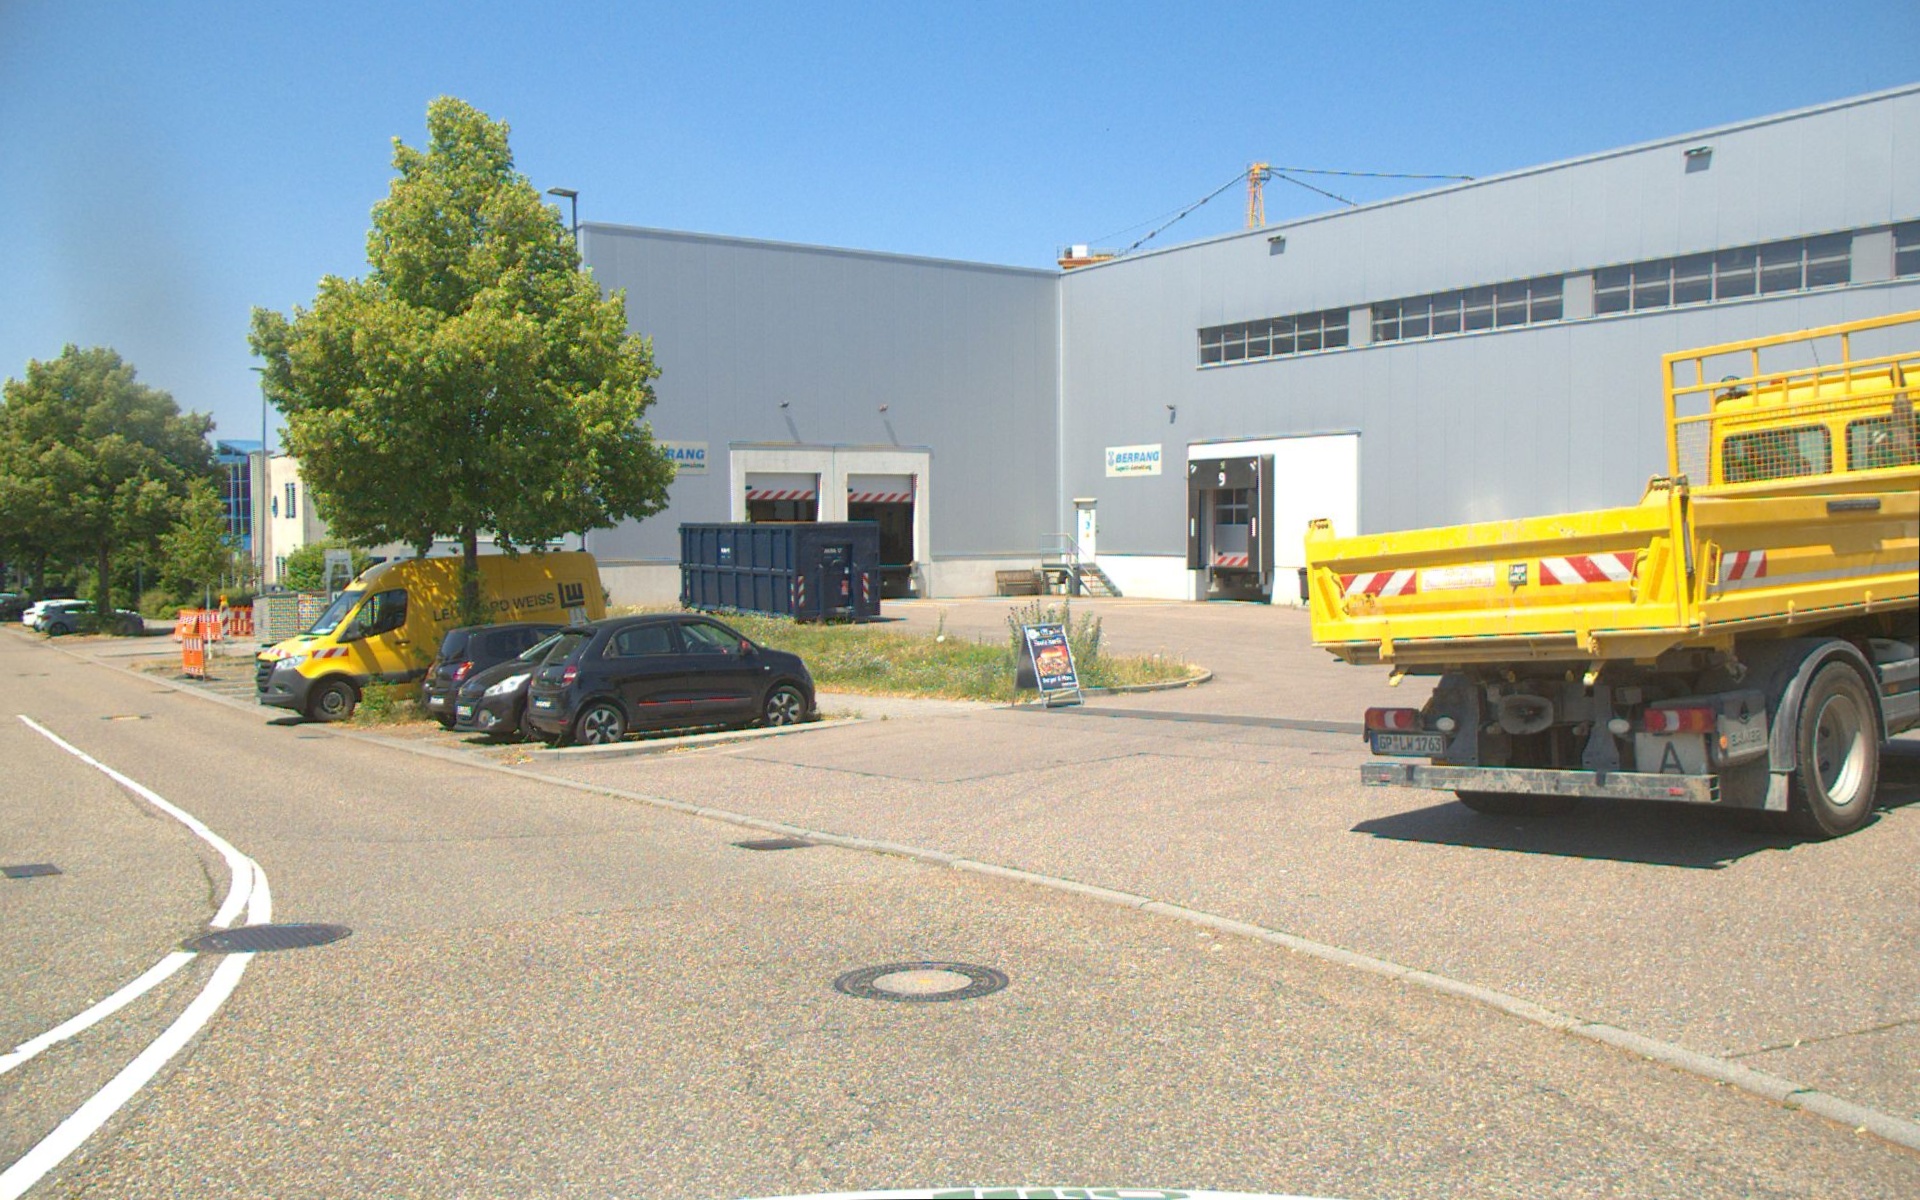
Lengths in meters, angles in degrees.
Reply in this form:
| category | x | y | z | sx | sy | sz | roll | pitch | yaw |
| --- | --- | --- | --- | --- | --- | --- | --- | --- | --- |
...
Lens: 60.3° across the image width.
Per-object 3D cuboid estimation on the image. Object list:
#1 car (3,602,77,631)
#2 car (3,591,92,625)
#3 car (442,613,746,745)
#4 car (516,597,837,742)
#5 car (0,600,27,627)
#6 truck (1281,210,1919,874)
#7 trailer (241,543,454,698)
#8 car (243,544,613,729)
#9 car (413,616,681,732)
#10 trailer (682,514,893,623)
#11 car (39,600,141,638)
| category | x | y | z | sx | sy | sz | roll | pitch | yaw |
| --- | --- | --- | --- | --- | --- | --- | --- | --- | --- |
| car | -54.789 | 0.950 | 98.504 | 3.690 | 1.655 | 1.792 | -1 | 0 | -35 |
| car | -43.680 | 0.377 | 79.214 | 3.494 | 1.377 | 1.517 | -5 | 3 | -39 |
| car | -4.963 | 1.007 | 22.612 | 3.742 | 1.533 | 1.570 | -2 | 1 | -37 |
| car | -3.537 | 0.804 | 20.867 | 3.629 | 1.488 | 1.608 | -4 | 2 | -34 |
| car | -70.507 | 0.997 | 120.724 | 3.910 | 1.866 | 1.741 | -1 | 4 | -42 |
| truck | 5.272 | -0.434 | 10.947 | 6.361 | 3.190 | 2.560 | -4 | 1 | -38 |
| trailer | -13.003 | 0.370 | 34.879 | 2.638 | 2.906 | 5.446 | -4 | 2 | -37 |
| car | -9.100 | 0.509 | 28.619 | 5.734 | 2.780 | 1.975 | -3 | 3 | -36 |
| car | -6.171 | 1.052 | 24.865 | 3.574 | 1.504 | 1.607 | -2 | 1 | -36 |
| trailer | -4.707 | -0.929 | 43.605 | 2.633 | 2.462 | 7.337 | 0 | 4 | -32 |
| car | -37.759 | 0.811 | 71.793 | 3.655 | 1.377 | 1.622 | -5 | 3 | -39 |
